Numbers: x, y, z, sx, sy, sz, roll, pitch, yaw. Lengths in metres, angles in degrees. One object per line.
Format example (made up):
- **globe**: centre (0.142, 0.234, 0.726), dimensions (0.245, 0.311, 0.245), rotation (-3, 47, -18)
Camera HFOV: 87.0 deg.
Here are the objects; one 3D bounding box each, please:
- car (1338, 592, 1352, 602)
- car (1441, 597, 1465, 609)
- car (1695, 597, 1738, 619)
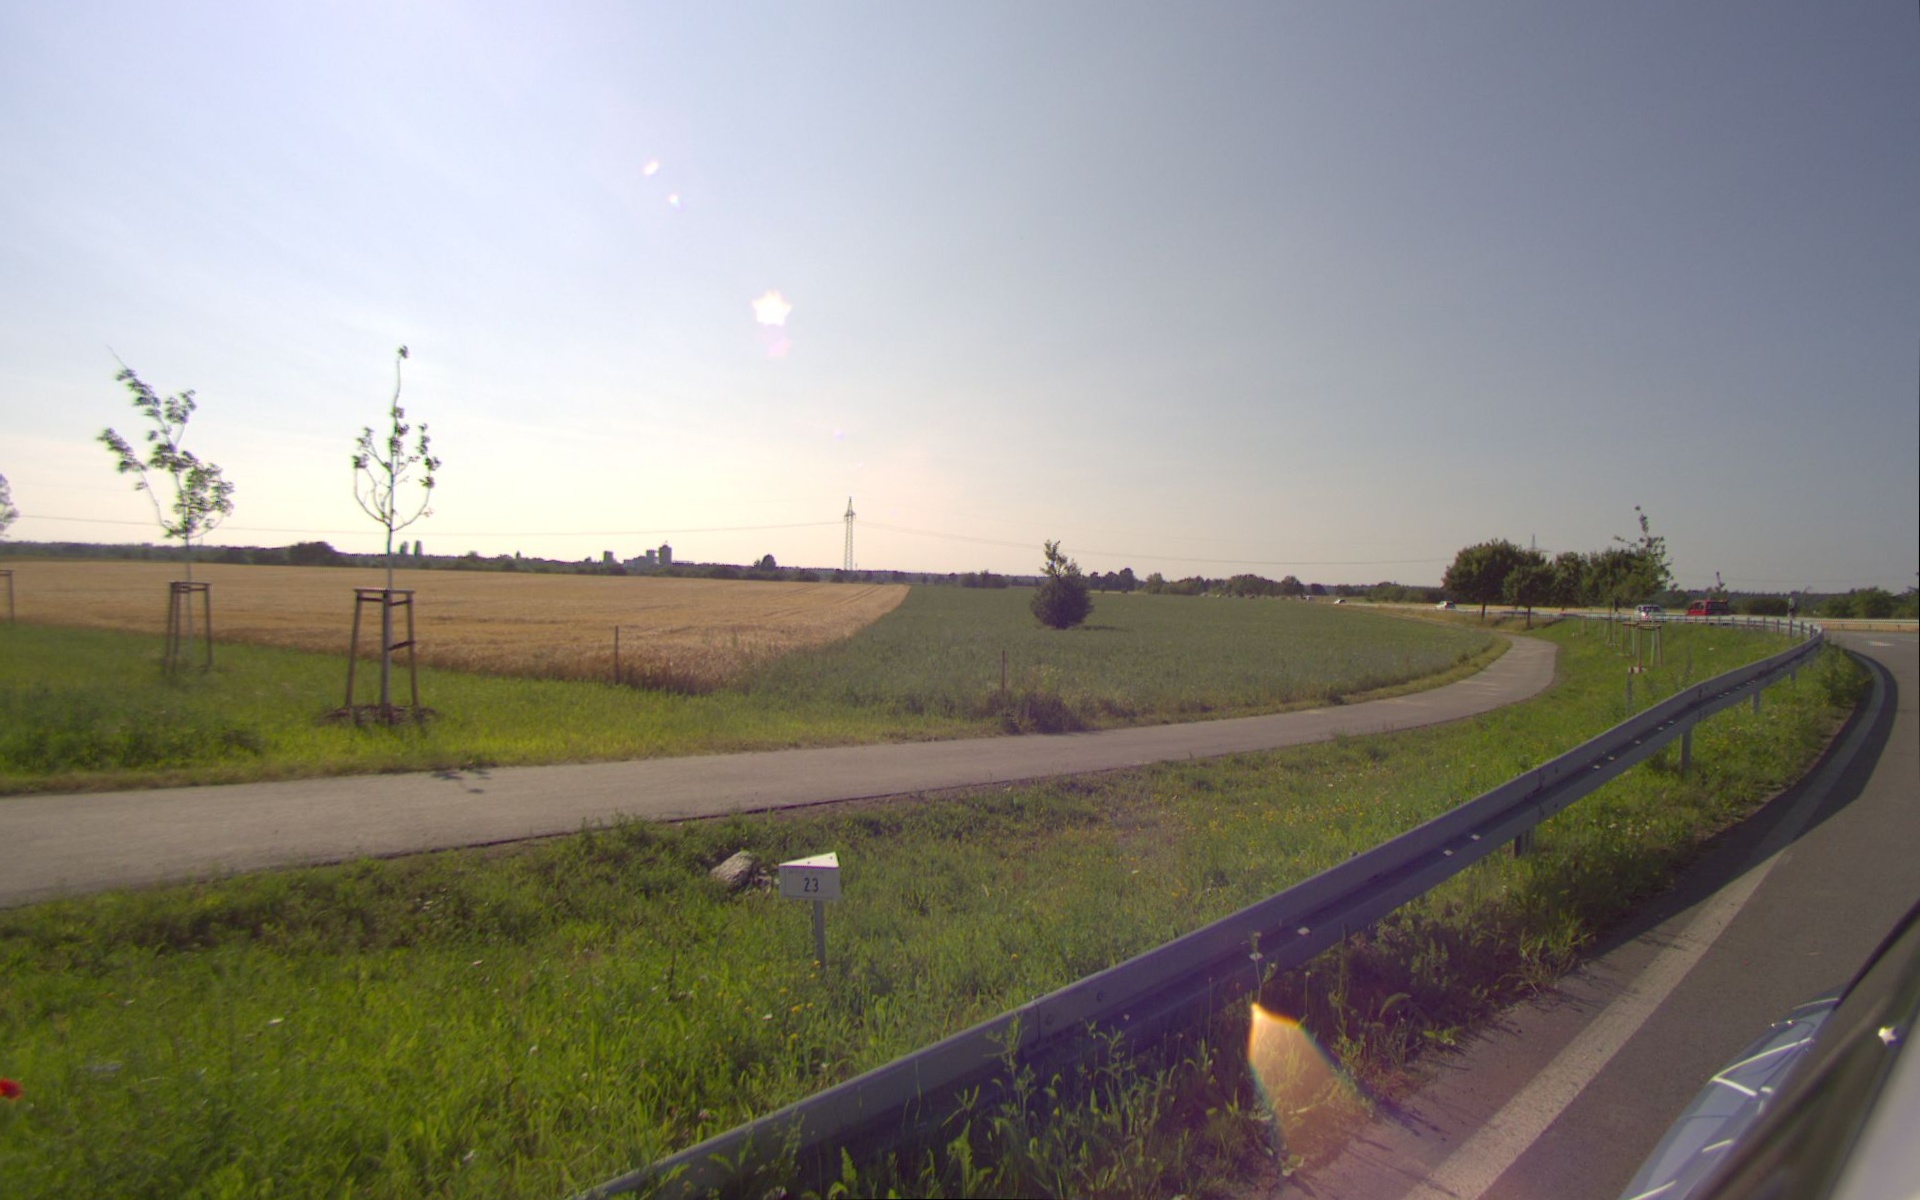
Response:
- **car**: centre (84.788, -0.701, 222.913), dimensions (1.964, 2.039, 3.996), rotation (0, 0, 4)
- **car**: centre (76.775, 0.467, 157.631), dimensions (1.965, 1.779, 3.993), rotation (1, 0, 6)
- **car**: centre (61.306, 0.616, 82.059), dimensions (1.793, 1.694, 3.971), rotation (0, 0, 21)
